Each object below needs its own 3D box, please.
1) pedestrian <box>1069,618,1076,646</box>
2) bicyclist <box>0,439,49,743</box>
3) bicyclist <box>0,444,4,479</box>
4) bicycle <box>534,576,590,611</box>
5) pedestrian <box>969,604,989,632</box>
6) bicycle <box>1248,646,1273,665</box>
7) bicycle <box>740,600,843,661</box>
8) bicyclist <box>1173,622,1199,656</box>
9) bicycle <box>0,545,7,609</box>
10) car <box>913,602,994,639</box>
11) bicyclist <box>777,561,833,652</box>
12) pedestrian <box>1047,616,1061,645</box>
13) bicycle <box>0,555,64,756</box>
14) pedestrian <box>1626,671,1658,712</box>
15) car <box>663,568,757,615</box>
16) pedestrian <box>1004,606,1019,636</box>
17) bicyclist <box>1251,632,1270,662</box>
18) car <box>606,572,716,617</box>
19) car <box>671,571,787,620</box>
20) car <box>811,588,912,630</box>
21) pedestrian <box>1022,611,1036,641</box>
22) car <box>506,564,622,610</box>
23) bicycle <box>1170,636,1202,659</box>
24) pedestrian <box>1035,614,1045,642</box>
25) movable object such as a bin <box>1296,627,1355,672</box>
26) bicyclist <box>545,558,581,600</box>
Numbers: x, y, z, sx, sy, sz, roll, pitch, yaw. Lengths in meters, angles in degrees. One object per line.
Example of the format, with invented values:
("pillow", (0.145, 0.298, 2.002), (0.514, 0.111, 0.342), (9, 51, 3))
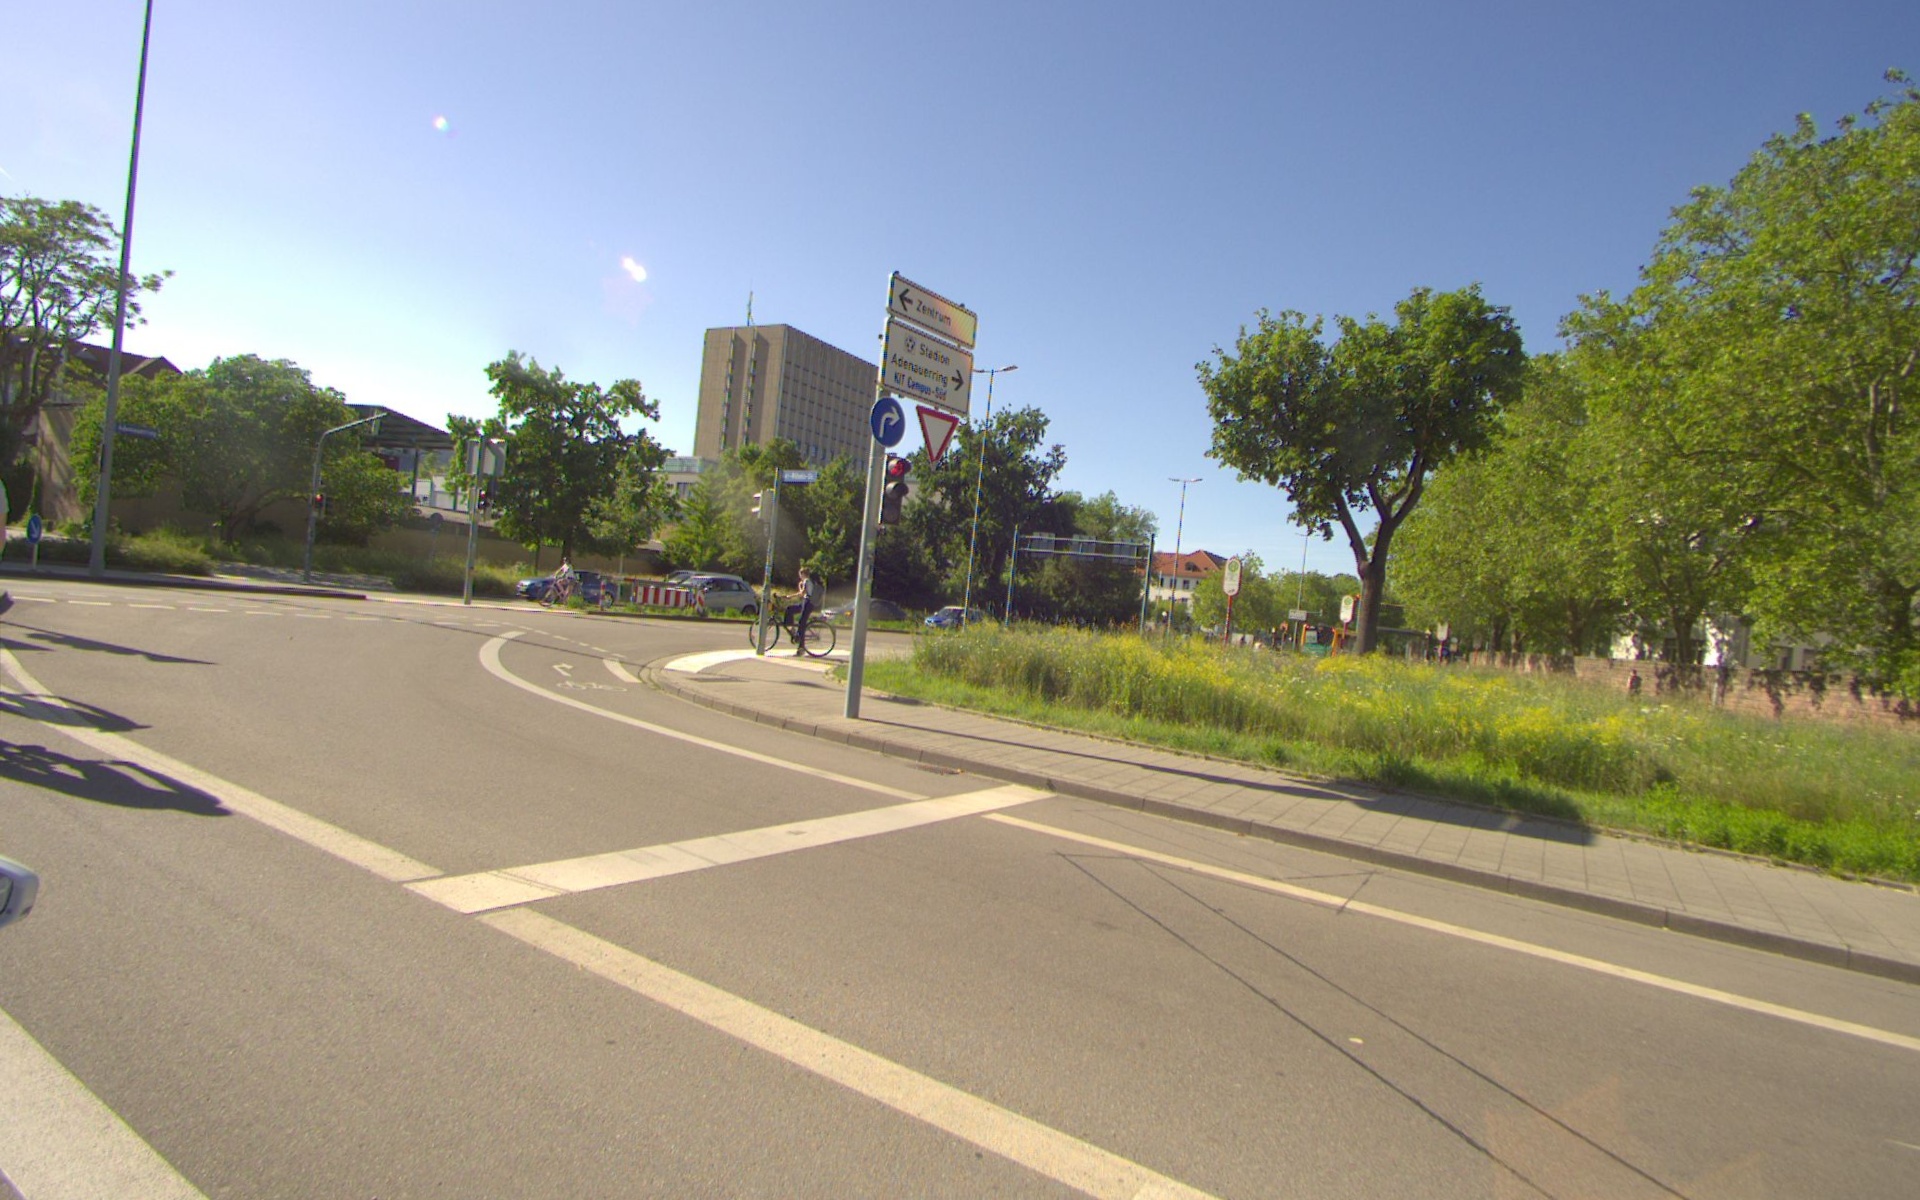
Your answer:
("pedestrian", (10.162, 2.881, 90.944), (0.267, 2.451, 0.300), (6, -1, 34))
("bicyclist", (-6.302, -0.111, 6.129), (1.123, 1.813, 0.684), (7, 0, 32))
("bicyclist", (-8.094, -0.477, 7.741), (1.123, 1.614, 0.679), (7, 0, 32))
("bicycle", (-13.950, -0.227, 35.326), (0.602, 1.046, 1.681), (7, 0, 37))
("pedestrian", (1.491, 1.432, 79.587), (0.752, 2.039, 1.267), (7, 1, 36))
("bicycle", (16.734, 3.086, 55.964), (0.514, 1.000, 1.965), (7, 1, 39))
("bicycle", (-3.285, 0.595, 19.671), (1.856, 0.970, 0.635), (7, 1, -10))
("bicyclist", (10.563, 1.824, 46.942), (0.632, 1.533, 1.049), (7, 2, 39))
("bicycle", (-8.189, 0.029, 7.754), (1.890, 1.102, 0.690), (6, -1, 32))
("car", (-0.287, 1.049, 50.450), (1.916, 1.415, 3.986), (6, 0, 37))
("bicyclist", (-3.031, 0.128, 19.699), (0.898, 1.667, 0.630), (6, 1, -9))
("pedestrian", (8.316, 2.678, 89.155), (0.710, 2.451, 0.585), (6, -1, 34))
("bicycle", (-6.300, 0.241, 6.110), (1.890, 1.102, 0.690), (6, -1, 32))
("pedestrian", (26.416, 3.534, 38.984), (0.712, 1.460, 0.523), (7, -1, 2))
("car", (-11.835, -0.365, 47.790), (1.767, 1.771, 3.985), (7, 0, 37))
("pedestrian", (4.278, 1.747, 83.561), (0.660, 2.451, 0.770), (6, -1, 34))
("bicyclist", (16.667, 2.607, 55.807), (0.509, 1.548, 1.067), (7, 2, 39))
("car", (-12.293, -0.198, 41.564), (1.767, 1.415, 3.986), (6, 0, 37))
("car", (-8.733, -0.128, 38.283), (1.767, 1.415, 3.986), (6, 0, 37))
("car", (-4.302, 0.436, 44.623), (1.767, 1.415, 4.557), (6, 0, 37))
("pedestrian", (5.936, 2.247, 86.215), (0.655, 2.451, 0.613), (6, -1, 34))
("car", (-16.204, -0.523, 41.312), (1.767, 1.415, 3.986), (6, 0, 37))
("bicycle", (10.562, 2.233, 46.997), (0.640, 0.986, 1.895), (7, 1, 39))
("pedestrian", (7.010, 2.461, 88.044), (0.402, 2.451, 0.467), (6, -1, 34))
("movable object such as a bin", (28.001, 3.811, 76.847), (2.954, 2.898, 9.178), (6, 0, 27))
("bicyclist", (-13.928, -0.720, 35.276), (0.602, 1.360, 0.874), (7, 1, 37))
